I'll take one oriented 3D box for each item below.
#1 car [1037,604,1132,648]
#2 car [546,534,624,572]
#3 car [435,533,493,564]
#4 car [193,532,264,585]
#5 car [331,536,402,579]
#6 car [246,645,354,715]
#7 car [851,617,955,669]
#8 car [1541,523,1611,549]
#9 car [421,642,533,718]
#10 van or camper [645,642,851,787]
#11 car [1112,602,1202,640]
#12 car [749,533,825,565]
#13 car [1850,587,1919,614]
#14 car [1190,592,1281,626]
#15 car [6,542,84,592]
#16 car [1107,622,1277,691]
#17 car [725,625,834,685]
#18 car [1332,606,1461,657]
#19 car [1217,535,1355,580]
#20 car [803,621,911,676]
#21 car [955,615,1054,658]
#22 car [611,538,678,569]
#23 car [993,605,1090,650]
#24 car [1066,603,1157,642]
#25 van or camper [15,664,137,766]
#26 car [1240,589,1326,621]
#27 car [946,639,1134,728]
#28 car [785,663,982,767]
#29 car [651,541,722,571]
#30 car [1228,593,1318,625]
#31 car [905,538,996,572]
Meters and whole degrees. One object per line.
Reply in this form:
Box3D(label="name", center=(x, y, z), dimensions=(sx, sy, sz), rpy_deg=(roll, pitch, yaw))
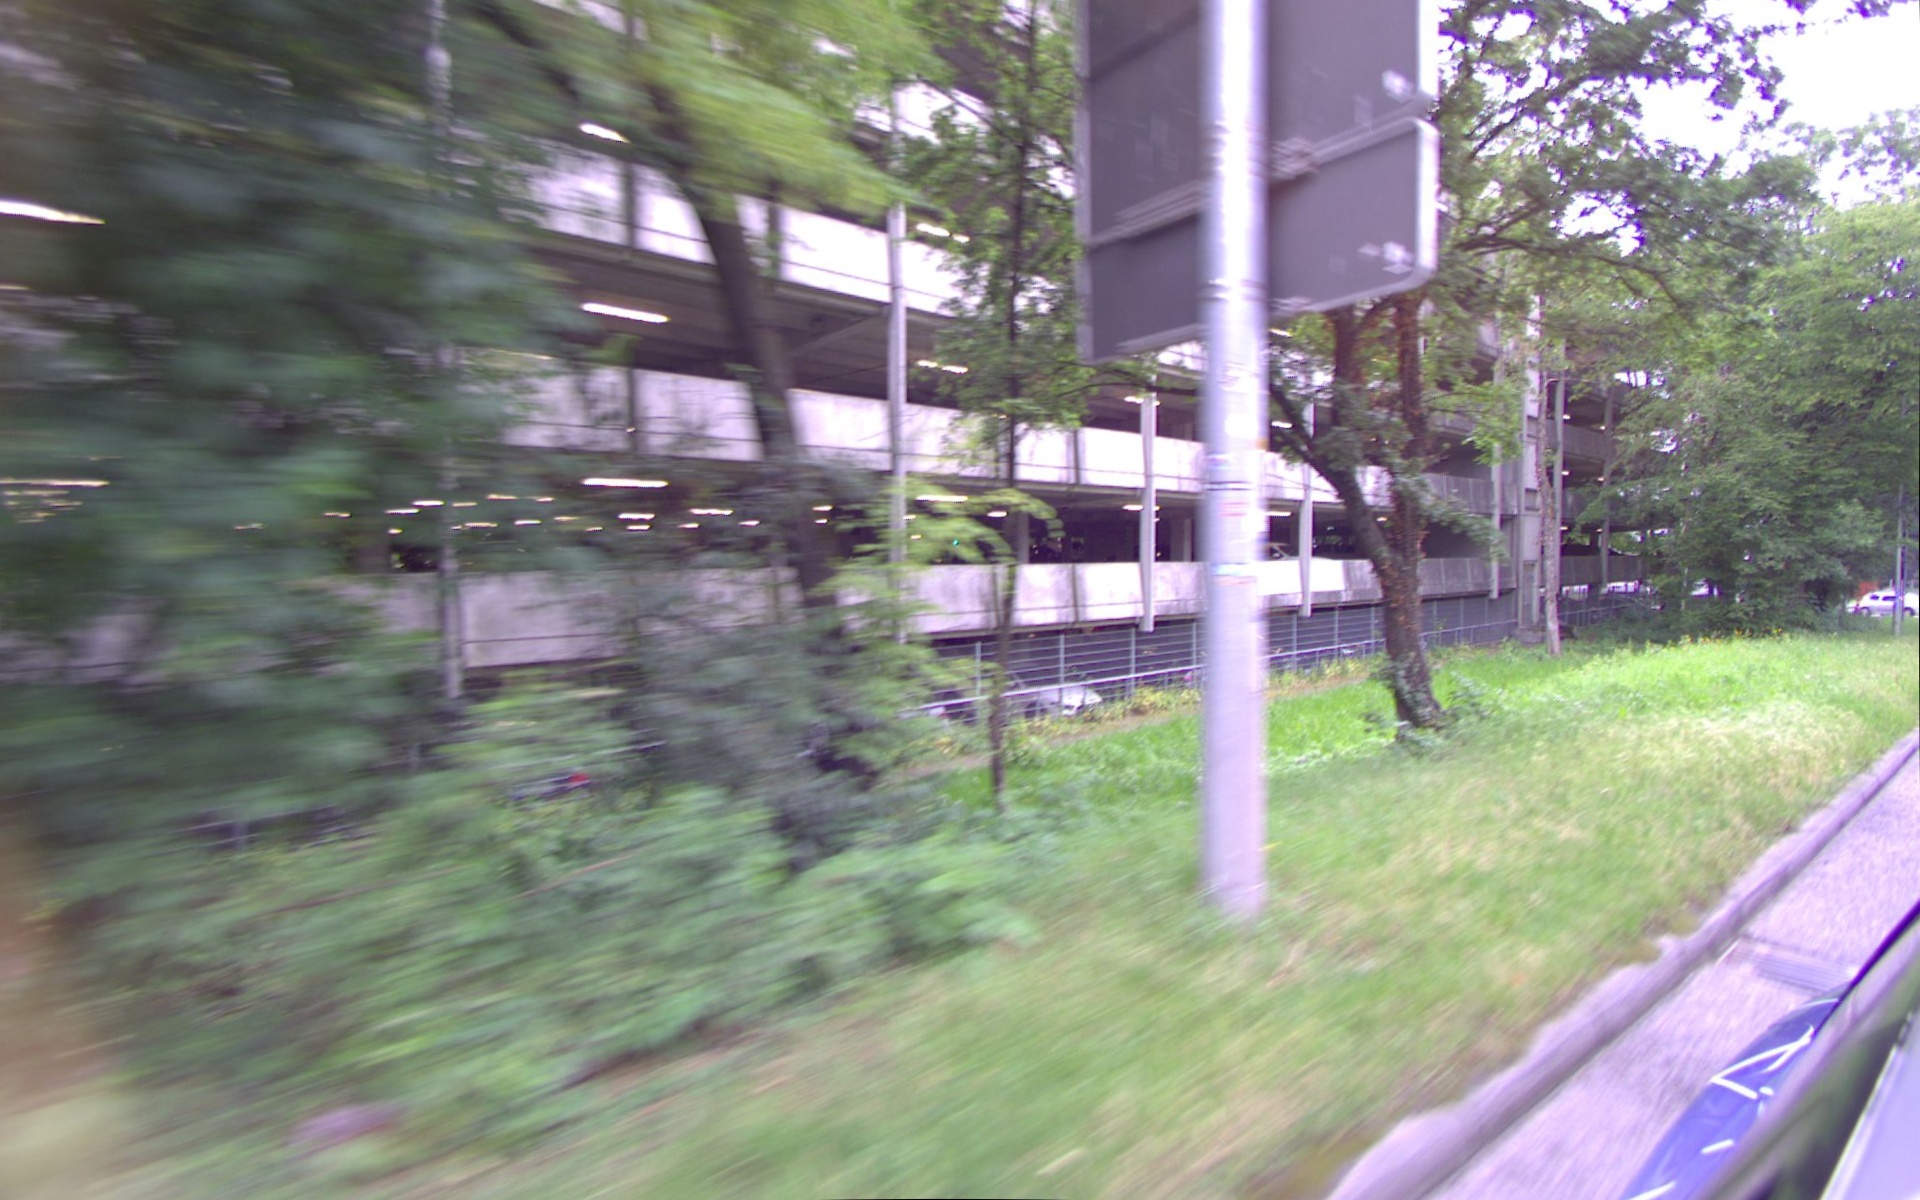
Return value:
Box3D(label="car", center=(5.098, 1.020, 41.768), dimensions=(1.646, 1.500, 3.665), rpy_deg=(-3, 4, -44))
Box3D(label="car", center=(-16.138, -2.014, 43.512), dimensions=(1.831, 1.502, 3.762), rpy_deg=(-5, 5, -42))
Box3D(label="car", center=(-27.593, -2.841, 56.253), dimensions=(1.830, 1.610, 4.186), rpy_deg=(-5, 5, -40))
Box3D(label="car", center=(-28.473, -1.629, 39.346), dimensions=(1.830, 1.908, 4.186), rpy_deg=(-4, 4, -40))
Box3D(label="car", center=(-25.072, -1.787, 42.691), dimensions=(1.830, 1.661, 4.186), rpy_deg=(-4, 5, -40))
Box3D(label="car", center=(-17.652, 2.070, 26.995), dimensions=(1.759, 1.322, 3.697), rpy_deg=(-4, 5, -43))
Box3D(label="car", center=(-2.050, 1.473, 35.550), dimensions=(3.664, 1.458, 1.647), rpy_deg=(3, 4, 45))
Box3D(label="car", center=(31.965, -3.328, 52.571), dimensions=(1.334, 1.261, 2.891), rpy_deg=(-5, 5, -43))
Box3D(label="car", center=(-12.050, 1.915, 25.136), dimensions=(1.644, 1.373, 3.671), rpy_deg=(-3, 4, -40))
Box3D(label="van or camper", center=(-3.947, 1.944, 18.474), dimensions=(1.811, 1.977, 4.008), rpy_deg=(-3, 4, -45))
Box3D(label="car", center=(8.726, 0.896, 44.948), dimensions=(1.646, 1.367, 3.665), rpy_deg=(-3, 4, -44))
Box3D(label="car", center=(-8.641, -2.523, 50.350), dimensions=(1.830, 1.444, 4.186), rpy_deg=(-5, 5, -40))
Box3D(label="car", center=(54.494, 0.045, 58.324), dimensions=(1.817, 1.498, 4.517), rpy_deg=(-1, -1, -12))
Box3D(label="car", center=(13.673, 0.401, 50.420), dimensions=(1.797, 1.469, 4.062), rpy_deg=(-2, 3, -44))
Box3D(label="car", center=(-32.079, -1.191, 35.574), dimensions=(1.830, 1.610, 4.186), rpy_deg=(-5, 5, -40))
Box3D(label="car", center=(6.718, 1.586, 29.655), dimensions=(1.916, 1.525, 4.596), rpy_deg=(-2, 4, -43))
Box3D(label="car", center=(-5.718, 1.672, 31.822), dimensions=(1.646, 1.458, 3.667), rpy_deg=(-3, 4, -43))
Box3D(label="car", center=(16.107, 1.110, 37.465), dimensions=(1.834, 1.551, 3.990), rpy_deg=(-2, 4, -45))
Box3D(label="car", center=(10.422, -1.388, 32.550), dimensions=(1.800, 1.359, 3.842), rpy_deg=(-2, 4, -39))
Box3D(label="car", center=(-3.463, 1.559, 33.722), dimensions=(3.664, 1.458, 1.647), rpy_deg=(3, 4, 45))
Box3D(label="car", center=(1.665, 1.366, 38.814), dimensions=(1.646, 1.299, 3.665), rpy_deg=(-3, 4, -44))
Box3D(label="car", center=(-16.121, -2.377, 51.604), dimensions=(1.831, 1.444, 3.762), rpy_deg=(-5, 5, -42))
Box3D(label="car", center=(3.197, 1.050, 40.063), dimensions=(1.646, 1.496, 3.665), rpy_deg=(-3, 4, -44))
Box3D(label="car", center=(6.521, 0.943, 43.730), dimensions=(1.646, 1.367, 3.665), rpy_deg=(-3, 4, -44))
Box3D(label="van or camper", center=(-17.975, 2.232, 20.570), dimensions=(1.698, 1.426, 3.718), rpy_deg=(-3, 4, -42))
Box3D(label="car", center=(17.385, 0.230, 54.538), dimensions=(1.797, 1.506, 4.062), rpy_deg=(-2, 3, -44))
Box3D(label="car", center=(1.832, 1.892, 24.123), dimensions=(1.918, 1.524, 4.258), rpy_deg=(-3, 5, -44))
Box3D(label="car", center=(-1.647, 2.267, 20.860), dimensions=(1.918, 1.453, 4.008), rpy_deg=(-4, 4, -44))
Box3D(label="car", center=(-14.180, -2.262, 52.309), dimensions=(1.831, 1.444, 4.184), rpy_deg=(-5, 5, -42))
Box3D(label="car", center=(15.958, 0.441, 51.776), dimensions=(1.797, 1.433, 4.062), rpy_deg=(-2, 3, -44))
Box3D(label="car", center=(-0.430, -1.963, 44.180), dimensions=(1.652, 1.343, 3.989), rpy_deg=(-5, 5, -45))
